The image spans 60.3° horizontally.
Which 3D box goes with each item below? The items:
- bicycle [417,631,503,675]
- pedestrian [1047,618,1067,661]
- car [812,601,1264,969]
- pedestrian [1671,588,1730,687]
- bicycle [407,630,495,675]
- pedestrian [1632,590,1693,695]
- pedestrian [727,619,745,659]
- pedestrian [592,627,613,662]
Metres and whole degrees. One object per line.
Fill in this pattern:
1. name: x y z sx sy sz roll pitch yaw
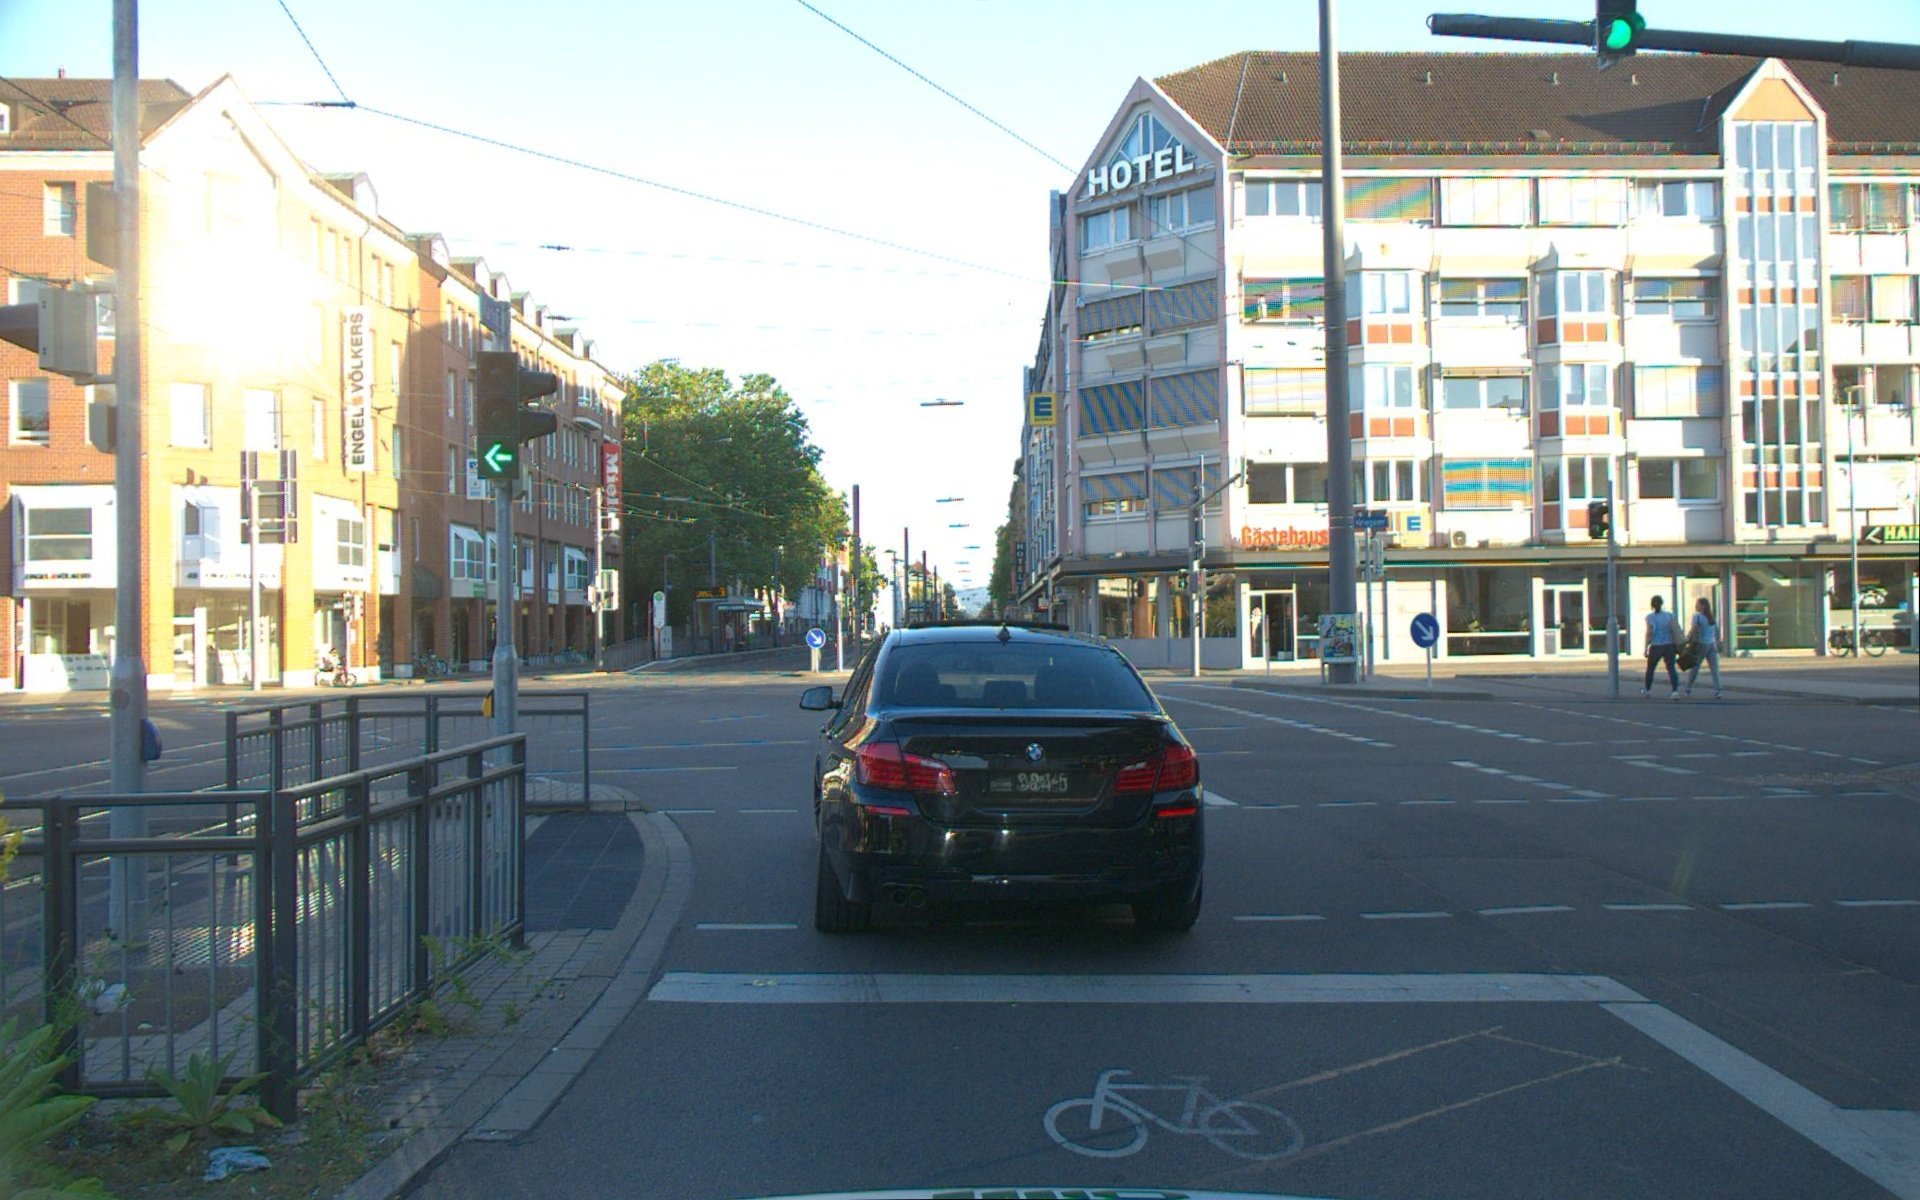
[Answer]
1. bicycle: -20.845 2.198 69.036 3.230 1.756 1.069 -1 -1 -1
2. pedestrian: 3.697 1.512 63.110 0.691 1.575 0.906 0 2 -3
3. car: 0.155 0.812 9.088 1.806 1.521 4.286 1 -1 -7
4. pedestrian: 12.242 0.619 27.343 0.691 1.610 0.823 -2 -1 36
5. bicycle: -20.866 2.154 67.867 3.229 1.756 1.069 -1 -1 0
6. pedestrian: 11.451 0.688 26.949 0.712 1.678 0.769 -2 -1 36
7. pedestrian: -11.609 2.015 85.724 0.792 2.049 0.677 -1 -1 -3
8. pedestrian: -21.103 2.641 97.699 1.063 2.049 1.083 -1 -1 -4
